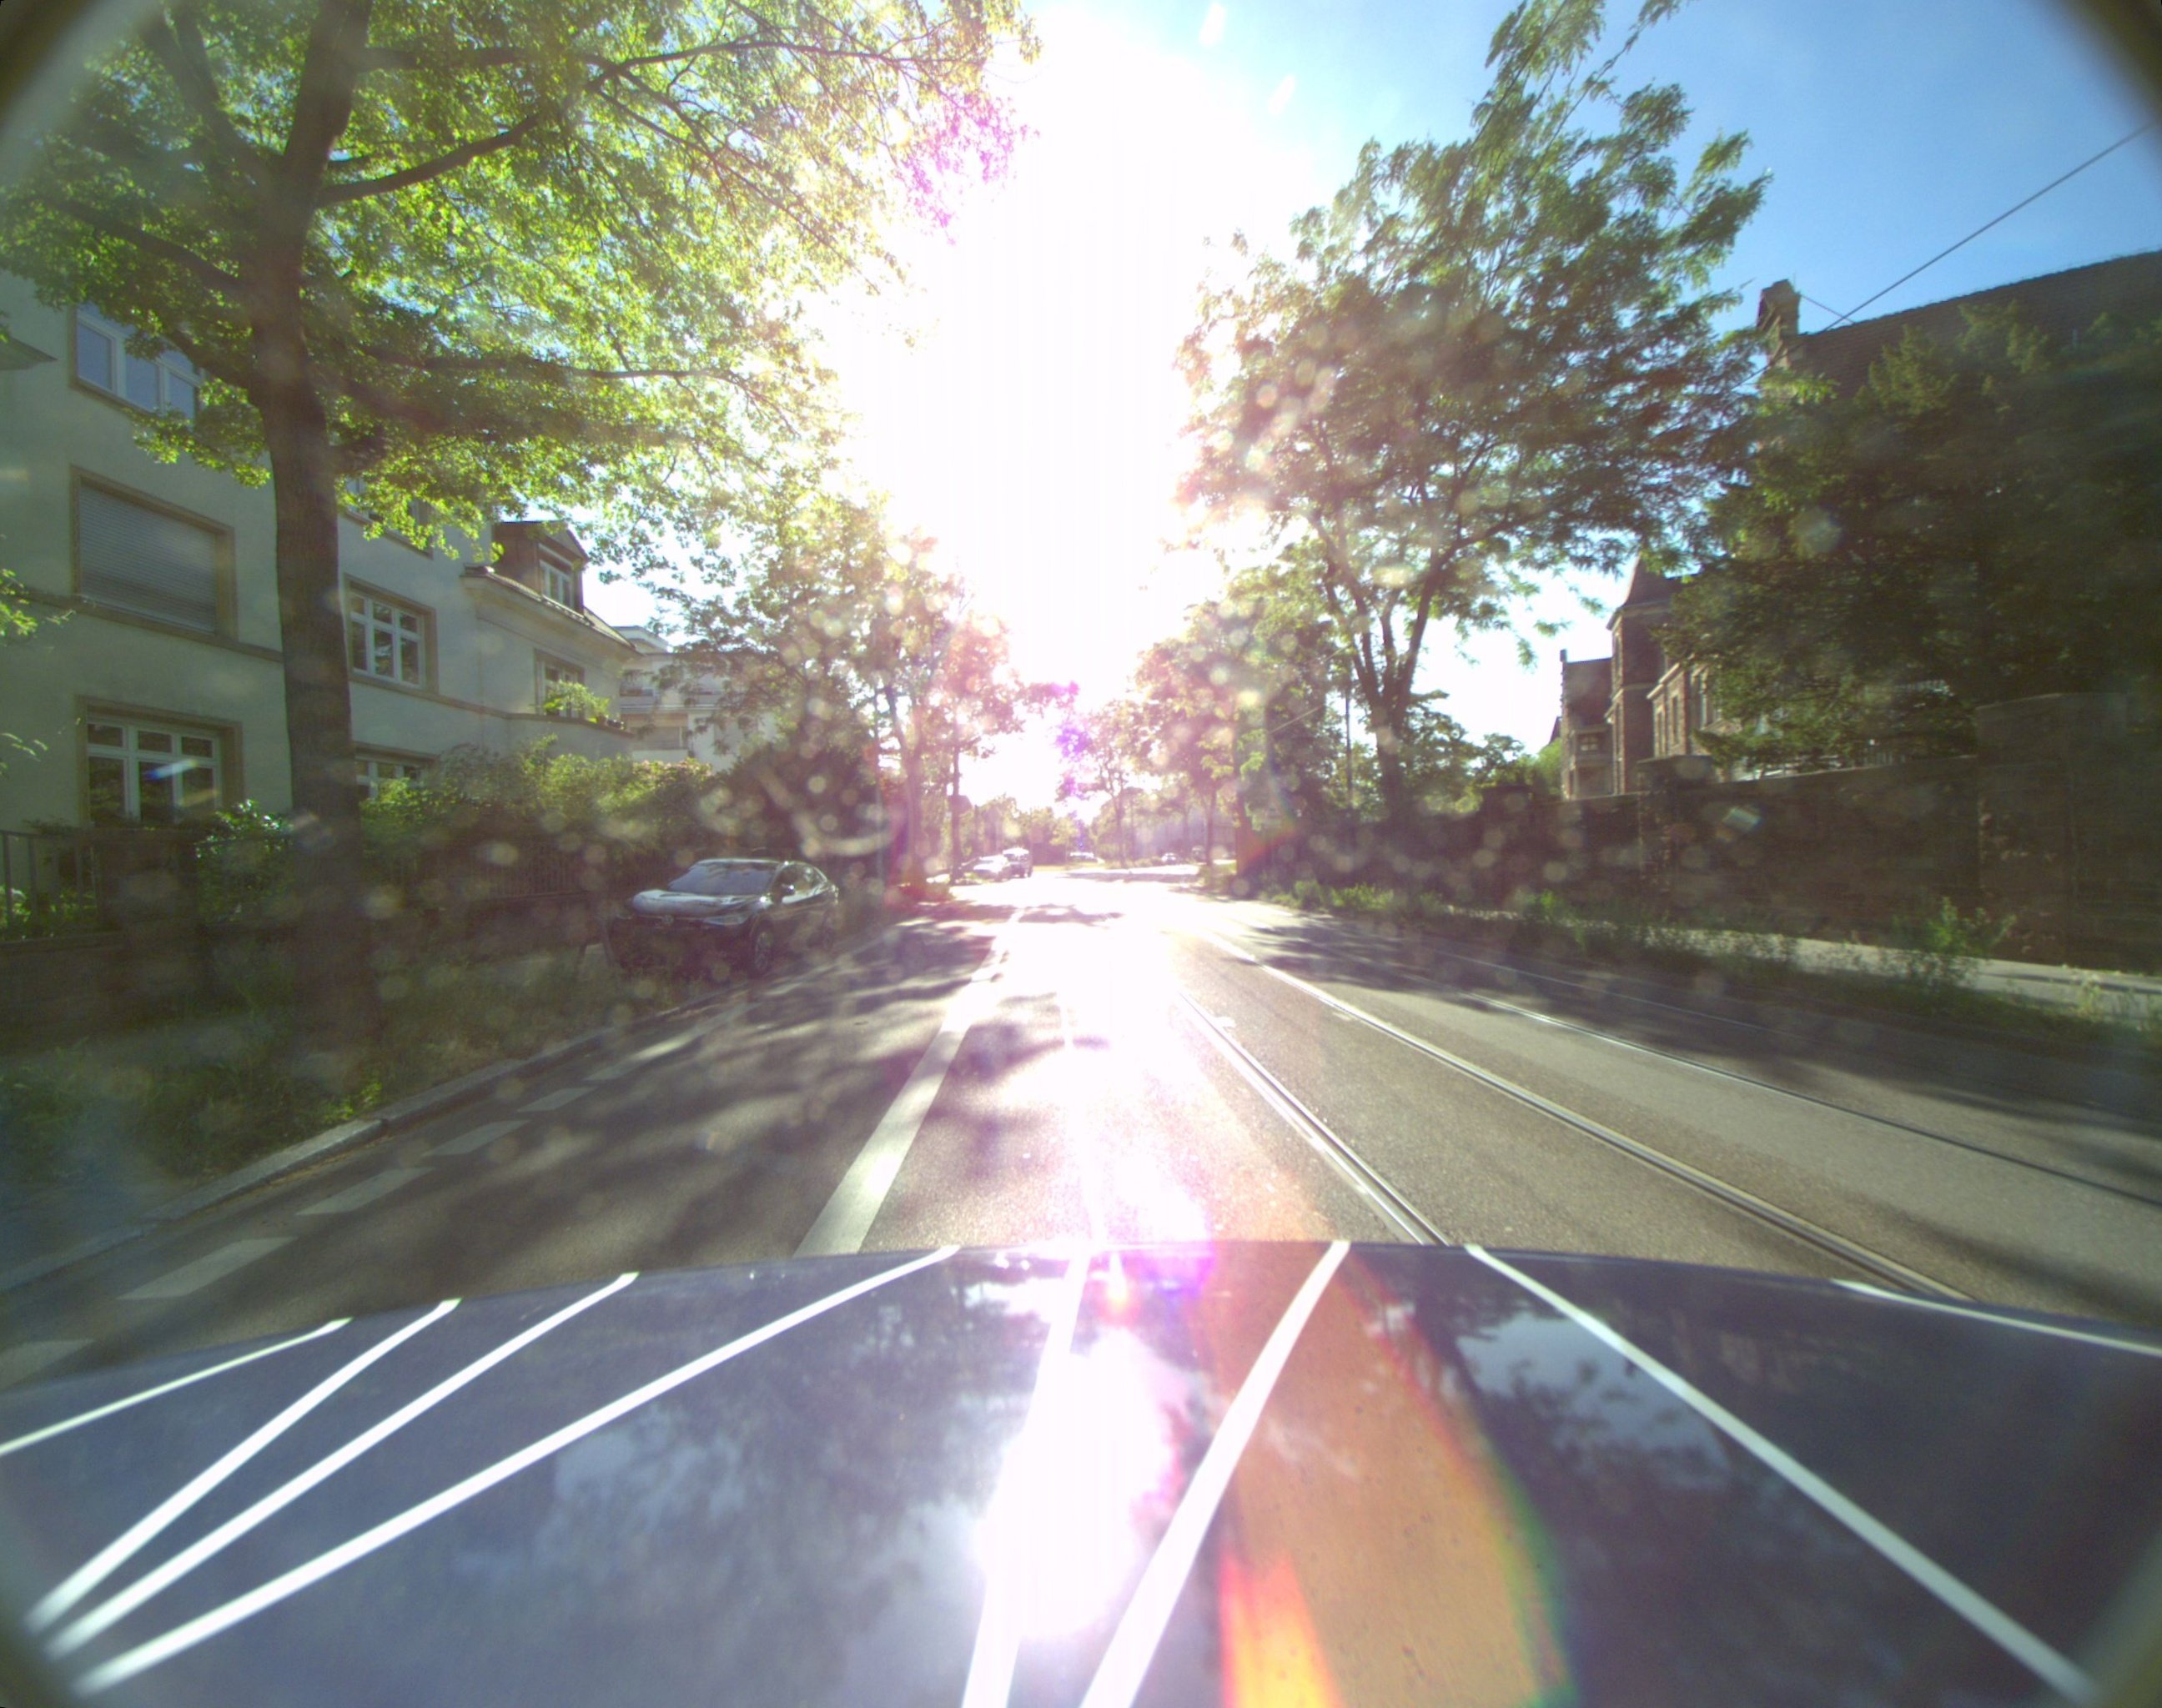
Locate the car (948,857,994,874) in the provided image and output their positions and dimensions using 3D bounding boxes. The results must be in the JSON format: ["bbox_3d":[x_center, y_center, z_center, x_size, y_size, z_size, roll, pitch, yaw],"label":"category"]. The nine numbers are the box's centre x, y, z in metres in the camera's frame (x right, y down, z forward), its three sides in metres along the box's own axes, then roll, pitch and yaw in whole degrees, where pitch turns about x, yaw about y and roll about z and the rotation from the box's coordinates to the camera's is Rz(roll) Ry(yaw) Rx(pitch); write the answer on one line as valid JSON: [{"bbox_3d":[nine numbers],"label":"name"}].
[{"bbox_3d":[-10.054,1.047,69.534,3.998,1.433,1.813,-2,0,-3],"label":"car"}]

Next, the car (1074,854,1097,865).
[{"bbox_3d":[0.735,0.918,128.786,3.908,1.683,1.905,-1,1,-1],"label":"car"}]

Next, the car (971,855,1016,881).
[{"bbox_3d":[-5.174,0.796,45.330,1.901,1.402,4.260,-1,0,4],"label":"car"}]

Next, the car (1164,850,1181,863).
[{"bbox_3d":[11.900,0.317,98.719,1.997,1.539,4.002,-2,0,8],"label":"car"}]

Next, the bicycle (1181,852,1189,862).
[{"bbox_3d":[12.469,0.358,91.270,0.588,1.105,1.857,-1,0,19],"label":"bicycle"}]

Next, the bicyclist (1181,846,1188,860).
[{"bbox_3d":[12.455,-0.082,91.214,0.643,1.632,0.666,-2,1,19],"label":"bicyclist"}]

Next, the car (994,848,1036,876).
[{"bbox_3d":[-4.413,0.508,51.685,1.900,1.775,4.670,-1,0,6],"label":"car"}]

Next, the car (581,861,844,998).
[{"bbox_3d":[-5.204,0.950,11.503,1.919,1.590,4.258,2,0,-1],"label":"car"}]
